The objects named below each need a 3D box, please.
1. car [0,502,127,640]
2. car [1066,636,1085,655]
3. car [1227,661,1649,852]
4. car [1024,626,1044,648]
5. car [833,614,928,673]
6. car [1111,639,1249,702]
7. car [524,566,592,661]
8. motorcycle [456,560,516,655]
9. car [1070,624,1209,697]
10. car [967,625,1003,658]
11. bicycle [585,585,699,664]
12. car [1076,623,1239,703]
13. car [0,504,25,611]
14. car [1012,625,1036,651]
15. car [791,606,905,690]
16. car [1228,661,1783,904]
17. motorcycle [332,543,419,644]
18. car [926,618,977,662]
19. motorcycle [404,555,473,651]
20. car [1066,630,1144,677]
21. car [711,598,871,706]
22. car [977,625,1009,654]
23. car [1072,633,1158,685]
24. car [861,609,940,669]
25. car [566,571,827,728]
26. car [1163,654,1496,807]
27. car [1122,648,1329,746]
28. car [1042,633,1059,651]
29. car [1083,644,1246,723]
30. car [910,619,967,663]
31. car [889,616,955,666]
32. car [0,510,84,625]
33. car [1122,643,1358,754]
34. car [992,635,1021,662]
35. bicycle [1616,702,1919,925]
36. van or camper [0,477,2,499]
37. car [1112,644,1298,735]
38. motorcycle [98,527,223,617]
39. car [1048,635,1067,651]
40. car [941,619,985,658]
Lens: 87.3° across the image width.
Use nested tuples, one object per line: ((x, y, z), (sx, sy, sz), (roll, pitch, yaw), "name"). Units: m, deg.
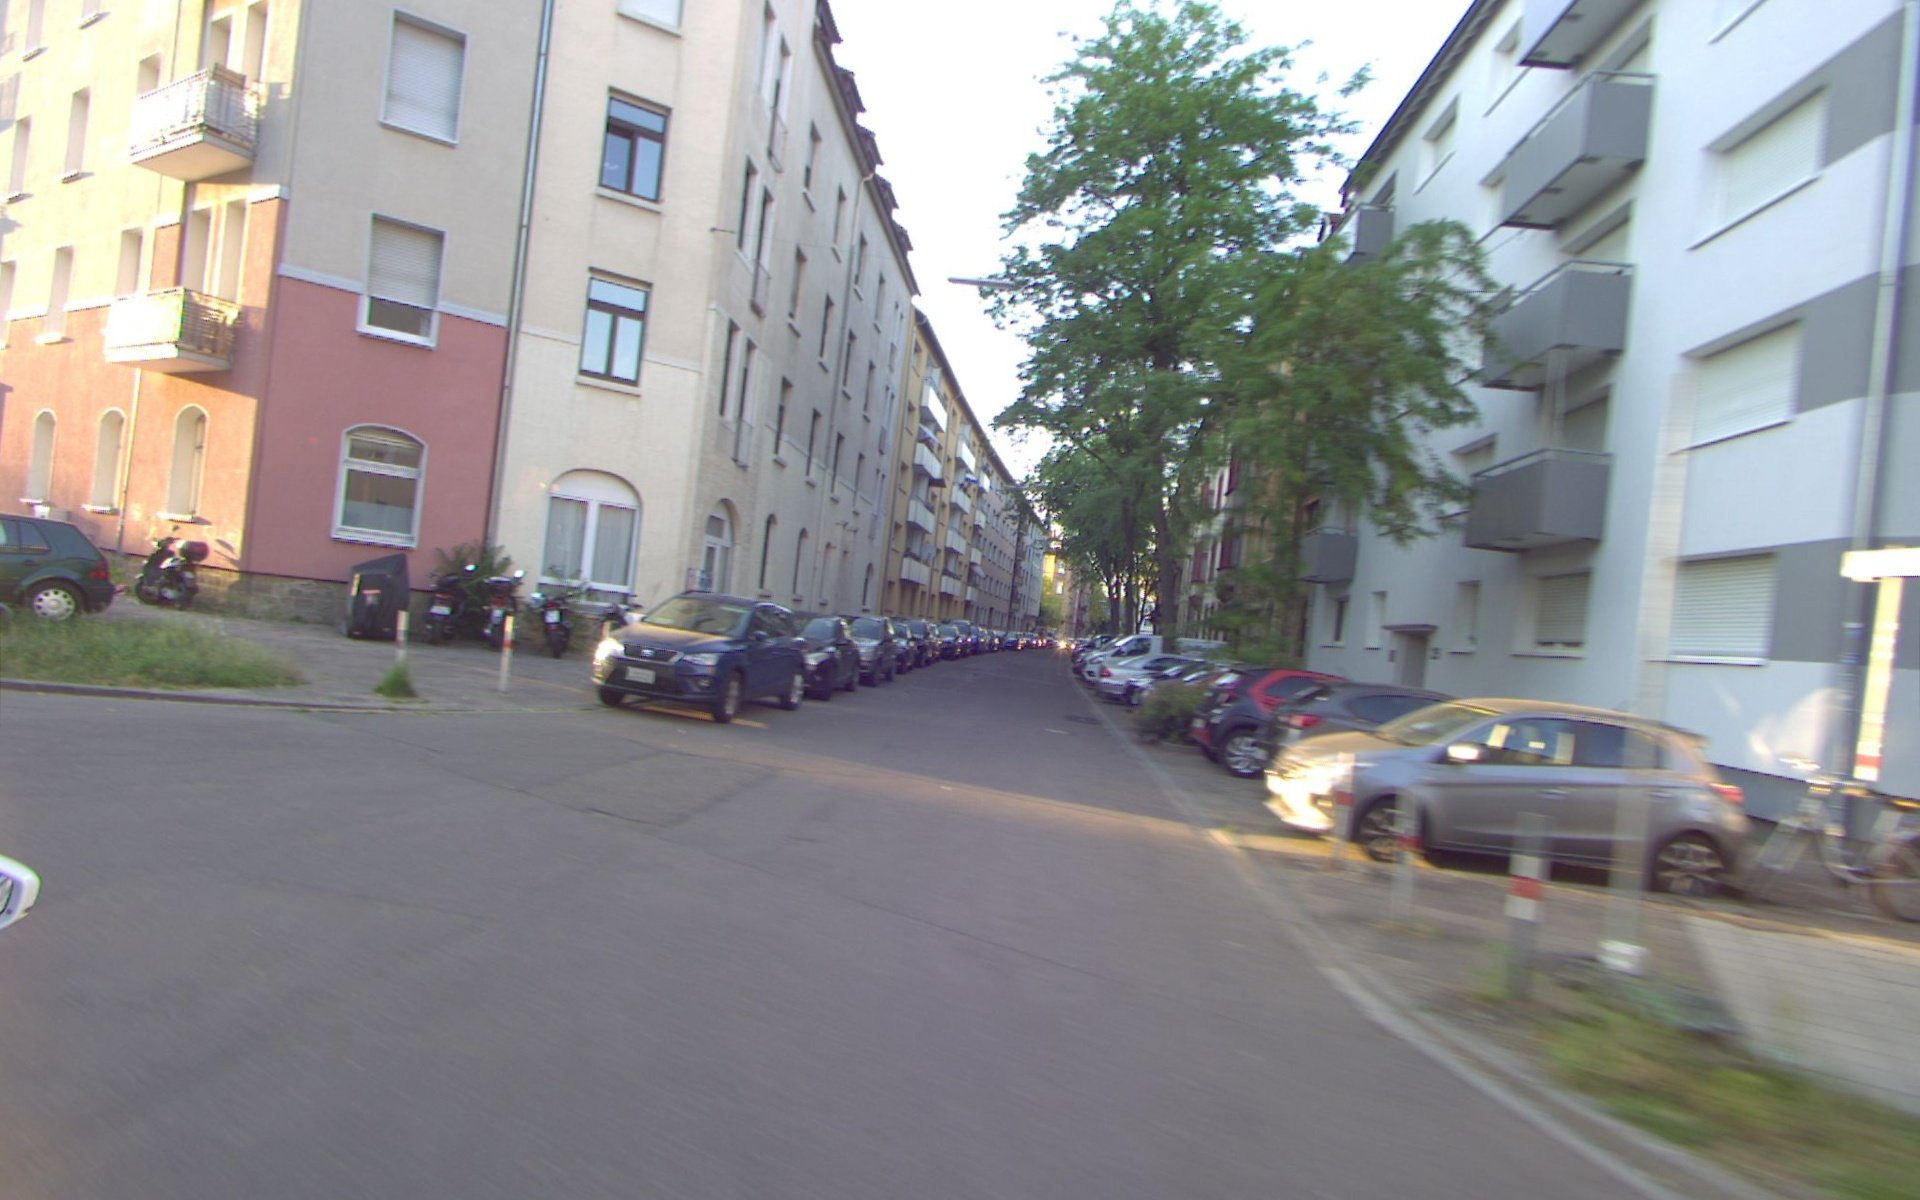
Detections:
((-12.742, -0.523, 11.791), (1.823, 1.604, 4.112), (6, -1, 28), "car")
((13.723, 5.428, 119.829), (1.962, 2.037, 4.004), (7, -1, 6), "car")
((5.352, 1.719, 11.742), (3.924, 1.504, 1.849), (7, -1, 6), "car")
((7.983, 3.986, 108.698), (1.962, 2.037, 4.003), (7, -1, 5), "car")
((-2.225, 1.251, 29.340), (2.055, 1.370, 4.003), (7, -2, 4), "car")
((6.754, 2.169, 31.272), (3.923, 1.415, 2.002), (7, -1, 8), "car")
((-7.155, 0.195, 17.807), (0.836, 1.474, 2.761), (7, -1, -25), "car")
((-8.174, 0.087, 17.434), (0.735, 1.451, 2.638), (7, -1, -24), "motorcycle")
((6.901, 2.312, 39.139), (4.884, 2.166, 2.001), (7, -1, 3), "car")
((1.621, 2.671, 64.788), (1.962, 1.804, 4.003), (7, -1, 4), "car")
((-6.161, 0.483, 19.537), (1.886, 1.297, 0.679), (8, -1, -33), "bicycle")
((6.576, 2.092, 33.891), (4.897, 2.038, 2.191), (7, -1, 1), "car")
((-16.576, -0.897, 14.538), (1.966, 1.637, 3.995), (6, -1, 29), "car")
((5.918, 3.545, 93.105), (1.962, 2.035, 4.007), (7, -3, 5), "car")
((-2.458, 1.065, 23.159), (1.936, 1.523, 4.002), (7, -1, 1), "car")
((4.735, 1.548, 9.322), (3.924, 1.437, 2.002), (7, -1, 5), "car")
((-9.499, -0.119, 16.445), (0.828, 1.451, 2.340), (7, -1, -24), "motorcycle")
((-0.366, 1.952, 49.044), (1.962, 1.804, 4.003), (7, -1, 4), "car")
((-8.775, 0.022, 17.007), (0.735, 1.451, 2.340), (7, -1, -24), "motorcycle")
((8.052, 2.971, 55.566), (3.924, 2.036, 2.004), (7, -3, 13), "car")
((-2.934, 0.903, 18.371), (1.933, 1.523, 4.002), (7, -1, 3), "car")
((2.360, 2.810, 71.770), (1.962, 1.804, 4.003), (7, -1, 4), "car")
((7.855, 3.009, 50.778), (3.924, 2.036, 2.004), (7, -3, 13), "car")
((-1.892, 1.301, 33.471), (1.962, 1.670, 4.003), (7, -2, 4), "car")
((-3.302, 0.644, 13.515), (1.795, 1.591, 4.004), (7, -1, 9), "car")
((5.039, 1.765, 14.254), (3.924, 1.481, 2.002), (7, -1, 6), "car")
((5.695, 2.069, 22.030), (3.924, 1.548, 2.001), (7, -1, 3), "car")
((11.883, 5.552, 132.839), (1.962, 2.037, 4.003), (7, -1, 5), "car")
((5.405, 2.185, 27.019), (3.924, 1.548, 2.002), (7, -1, 5), "car")
((-0.874, 1.793, 43.925), (1.962, 1.603, 4.003), (7, -2, 4), "car")
((-1.396, 1.580, 38.942), (1.962, 1.603, 4.003), (7, -2, 4), "car")
((-14.717, -0.658, 13.469), (1.966, 1.548, 3.995), (6, -2, 29), "car")
((5.275, 1.848, 19.424), (3.924, 1.534, 2.001), (7, -1, 4), "car")
((3.705, 3.802, 79.227), (1.962, 1.804, 4.003), (7, -1, 4), "car")
((6.578, 1.661, 7.812), (2.458, 1.400, 0.517), (7, -1, 2), "bicycle")
((-18.426, -1.323, 15.492), (2.006, 2.121, 4.843), (6, -1, 30), "van or camper")
((5.827, 2.111, 24.308), (3.924, 1.604, 2.001), (7, -1, 3), "car")
((-13.566, -0.483, 17.041), (2.609, 1.250, 0.743), (6, -1, 32), "motorcycle")
((11.671, 5.178, 120.639), (1.962, 1.592, 4.004), (7, -1, 7), "car")
((0.226, 2.109, 54.974), (1.962, 1.804, 4.003), (7, -1, 4), "car")
